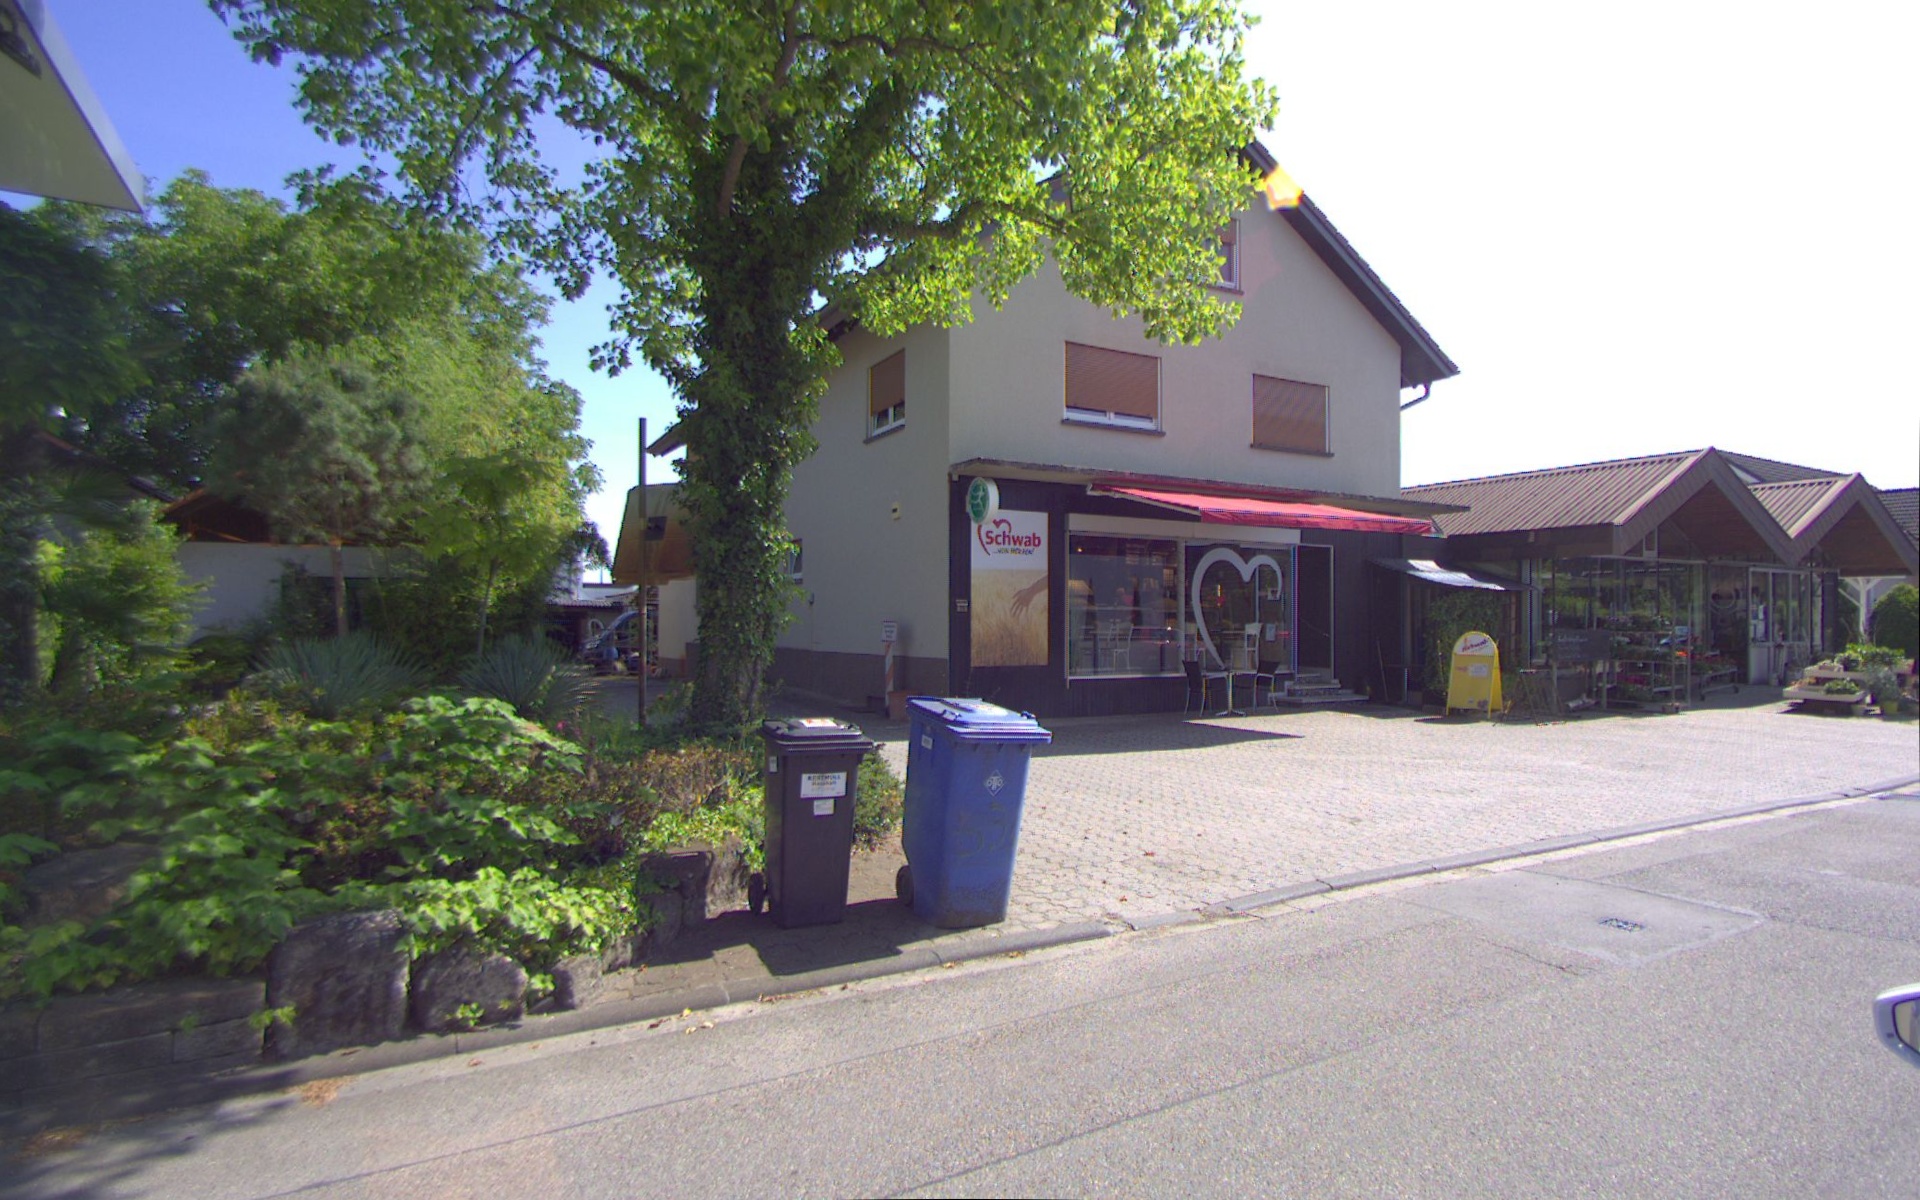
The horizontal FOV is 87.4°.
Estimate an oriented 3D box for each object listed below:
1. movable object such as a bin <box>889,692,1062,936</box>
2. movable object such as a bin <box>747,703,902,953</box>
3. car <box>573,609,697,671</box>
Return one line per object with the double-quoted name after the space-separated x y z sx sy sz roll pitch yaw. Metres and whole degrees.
0.067 1.051 5.197 0.605 1.068 0.727 1 0 -30 "movable object such as a bin"
-0.665 1.057 4.871 0.561 1.038 0.580 1 0 -30 "movable object such as a bin"
-13.593 1.646 42.101 4.597 2.441 2.177 1 -2 -31 "car"
